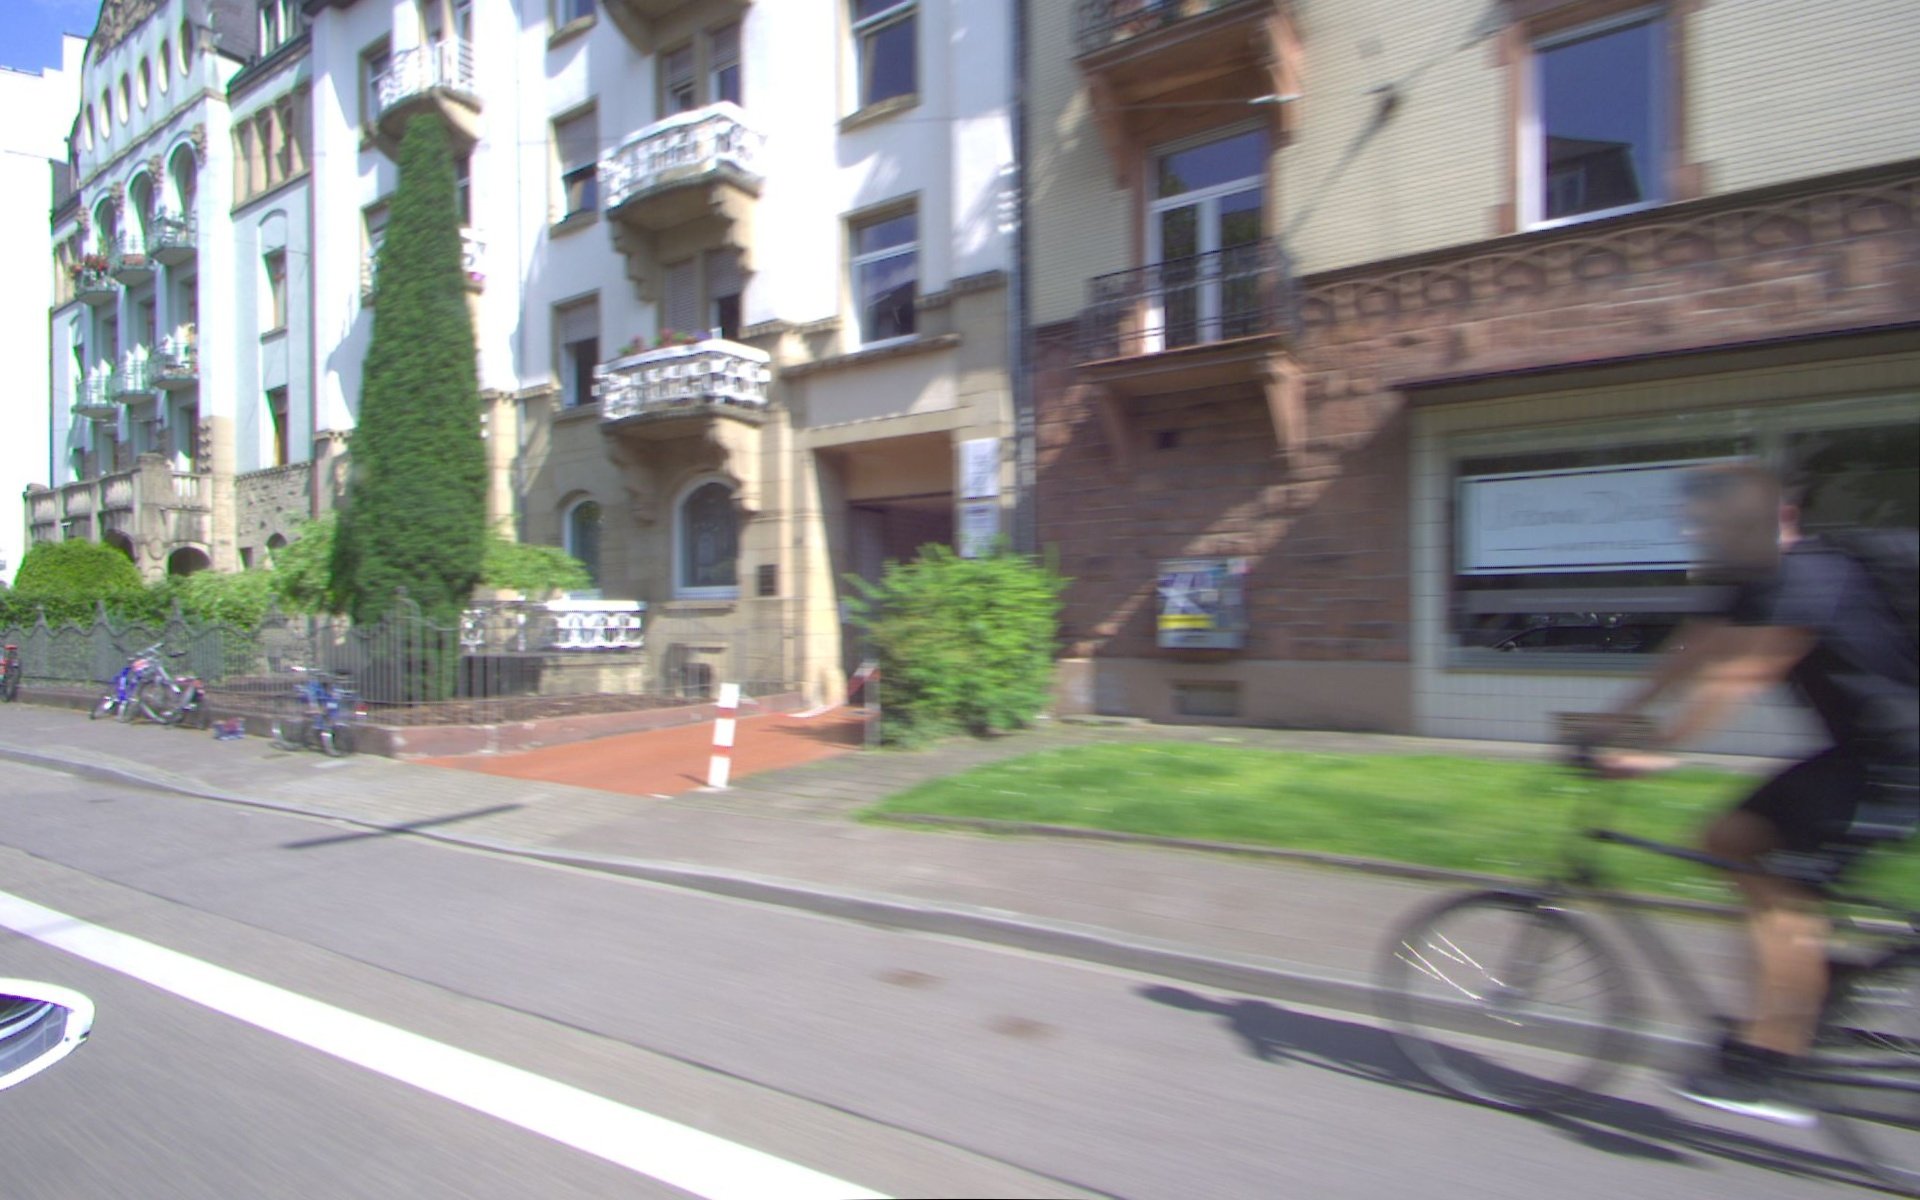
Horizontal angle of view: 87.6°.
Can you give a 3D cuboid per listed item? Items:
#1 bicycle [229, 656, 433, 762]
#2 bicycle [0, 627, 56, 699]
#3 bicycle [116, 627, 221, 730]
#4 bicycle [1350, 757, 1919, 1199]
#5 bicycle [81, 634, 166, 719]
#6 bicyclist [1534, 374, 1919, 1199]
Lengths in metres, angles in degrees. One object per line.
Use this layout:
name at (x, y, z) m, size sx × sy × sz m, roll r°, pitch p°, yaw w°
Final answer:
bicycle at (-7.132, 1.175, 11.274) m, size 3.021 × 0.974 × 0.597 m, roll -1°, pitch 3°, yaw 31°
bicycle at (-17.480, 1.135, 18.362) m, size 2.481 × 1.247 × 0.739 m, roll -1°, pitch -1°, yaw 33°
bicycle at (-10.569, 1.013, 13.354) m, size 1.817 × 1.278 × 0.450 m, roll 0°, pitch 2°, yaw 31°
bicycle at (2.153, 1.070, 2.872) m, size 1.811 × 1.059 × 0.614 m, roll -3°, pitch 1°, yaw 34°
bicycle at (-12.254, 1.089, 14.656) m, size 1.819 × 1.138 × 0.449 m, roll 0°, pitch 2°, yaw 35°
bicyclist at (2.263, 0.459, 2.779) m, size 1.114 × 1.972 × 0.606 m, roll -1°, pitch -3°, yaw 33°
